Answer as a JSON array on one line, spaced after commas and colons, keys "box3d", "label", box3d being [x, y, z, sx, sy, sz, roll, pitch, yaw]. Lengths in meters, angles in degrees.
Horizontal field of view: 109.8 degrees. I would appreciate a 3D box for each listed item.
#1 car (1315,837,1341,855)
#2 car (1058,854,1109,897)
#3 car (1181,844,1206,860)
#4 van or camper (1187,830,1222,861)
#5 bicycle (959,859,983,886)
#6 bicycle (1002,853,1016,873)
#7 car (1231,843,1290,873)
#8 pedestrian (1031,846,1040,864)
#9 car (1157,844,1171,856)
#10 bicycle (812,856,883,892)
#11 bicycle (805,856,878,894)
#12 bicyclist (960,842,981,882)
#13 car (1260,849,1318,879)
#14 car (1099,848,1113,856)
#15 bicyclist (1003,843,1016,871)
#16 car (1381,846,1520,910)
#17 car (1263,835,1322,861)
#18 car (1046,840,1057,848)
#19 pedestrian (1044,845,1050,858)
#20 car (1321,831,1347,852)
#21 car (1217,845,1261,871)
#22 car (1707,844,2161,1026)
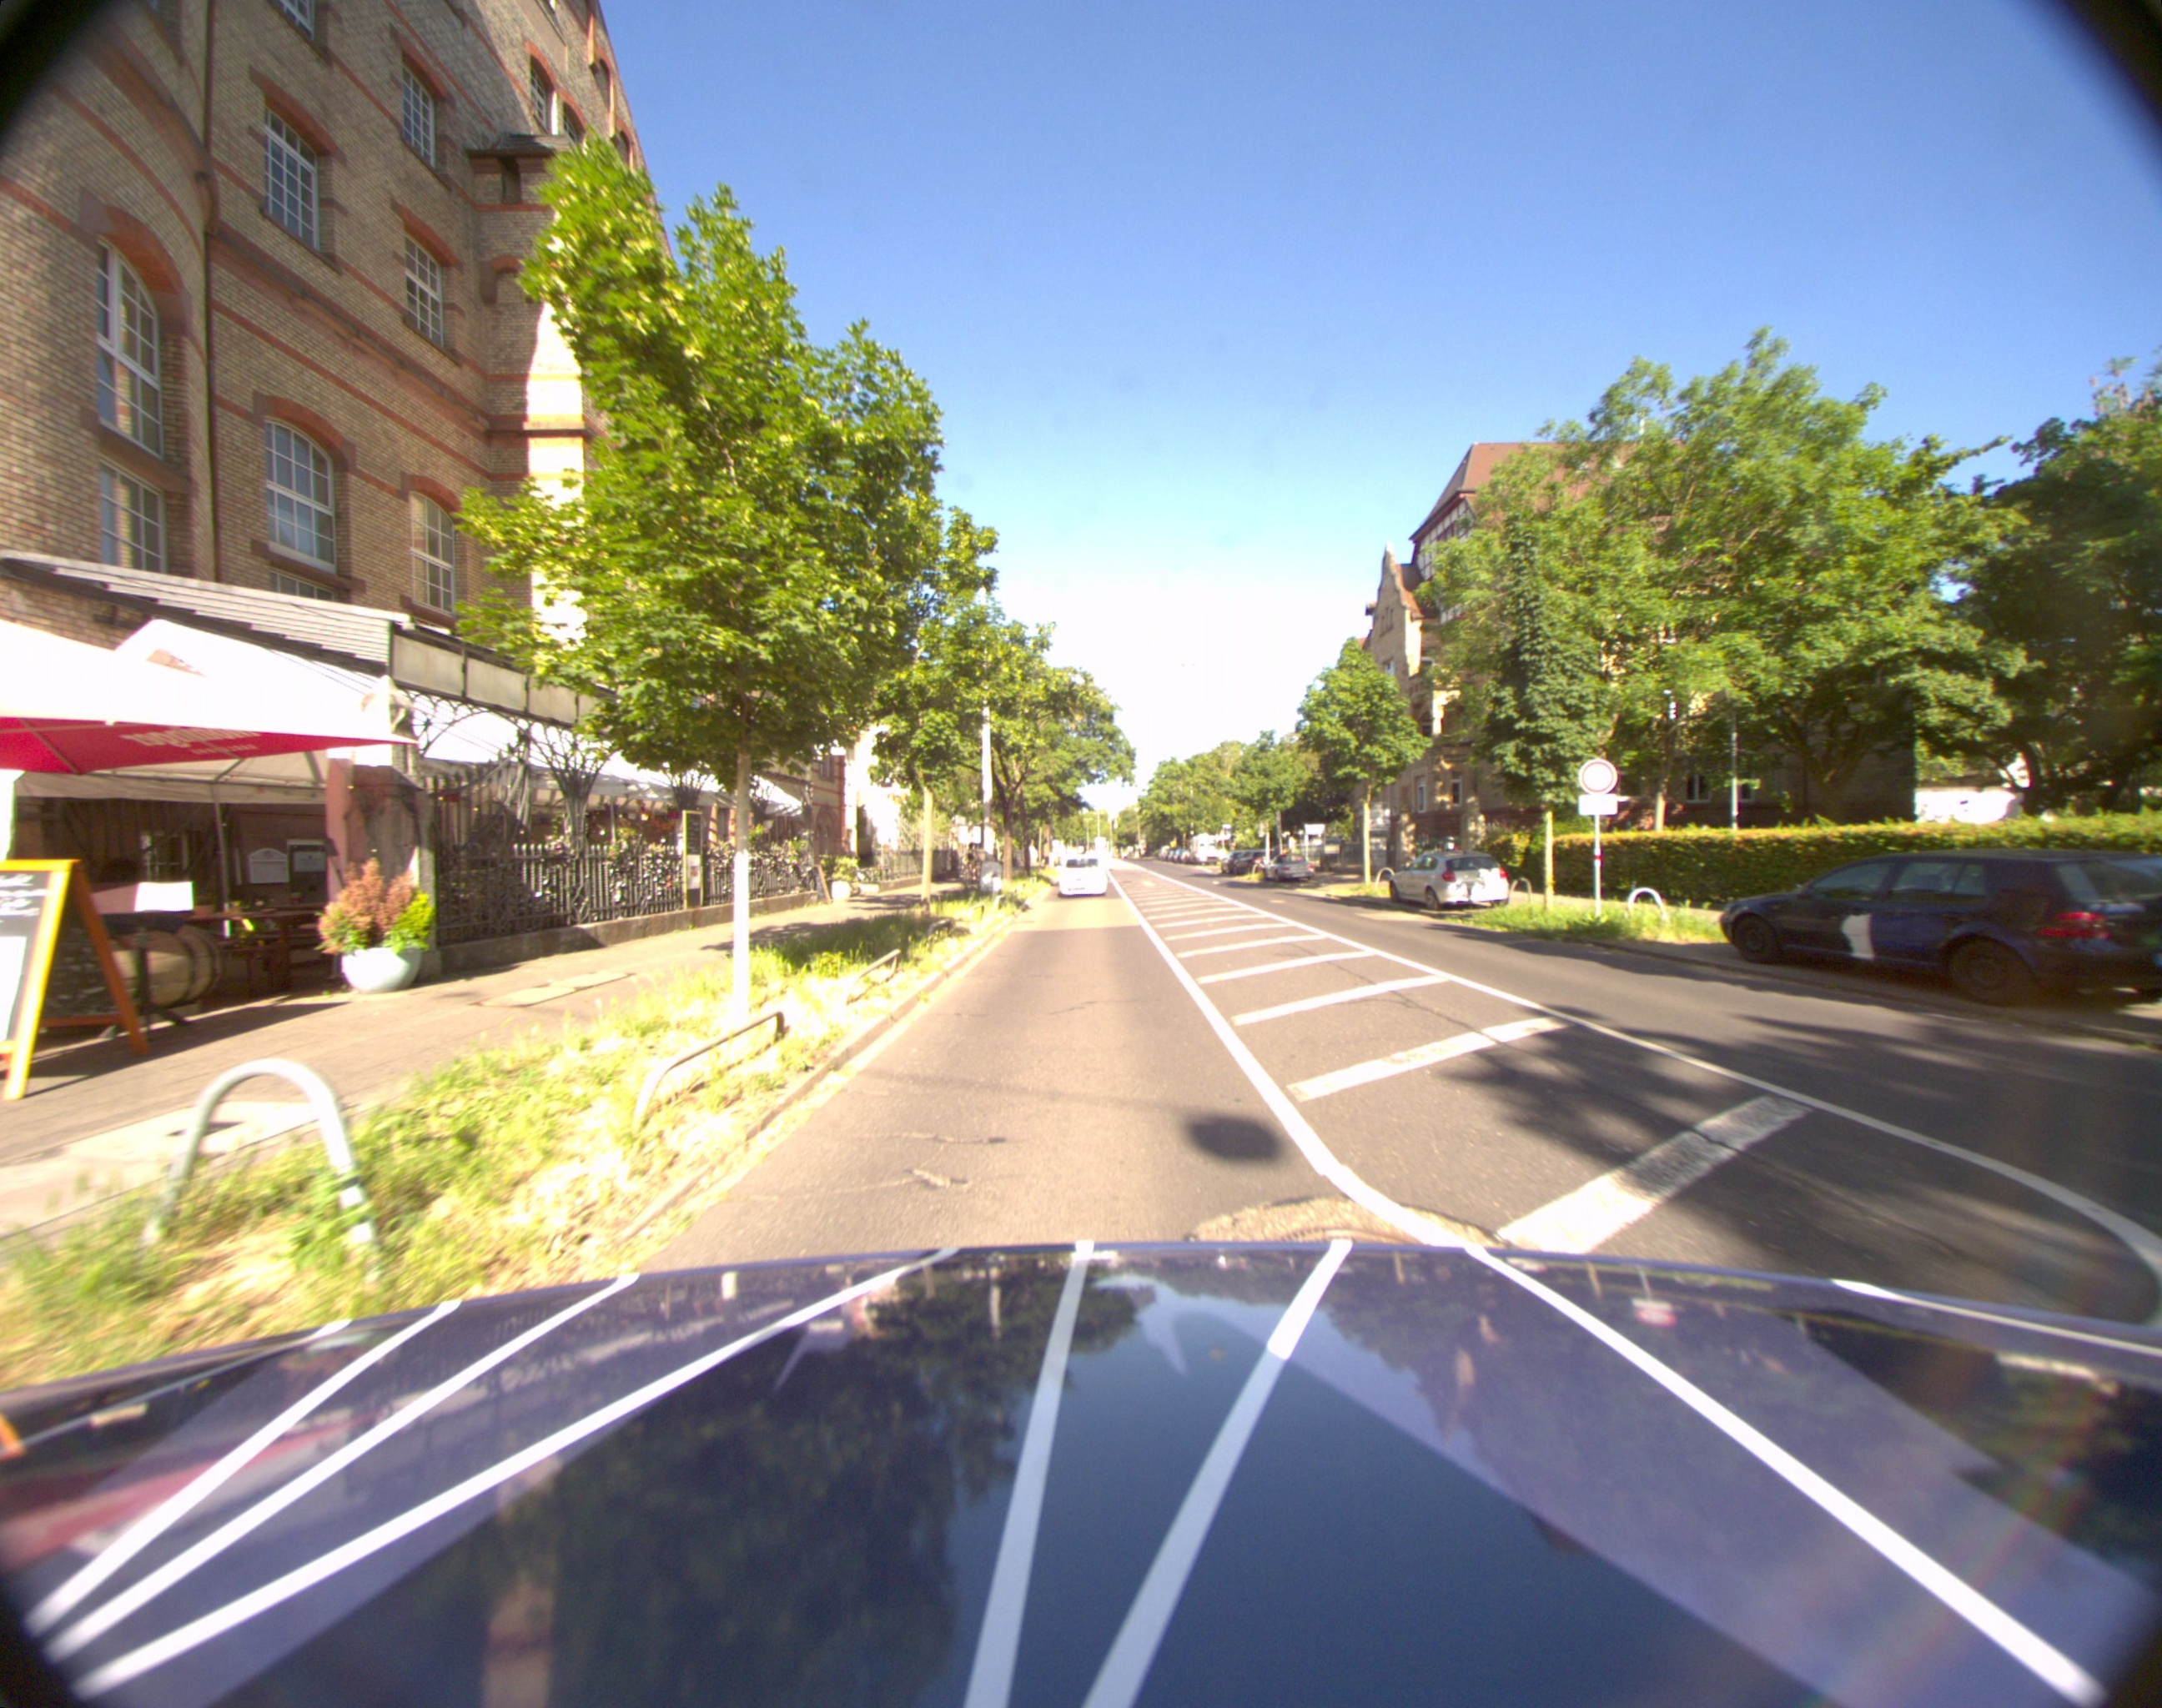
[{"box3d": [22.470, -0.724, 69.045, 1.860, 1.504, 3.535, 1, 3, 25], "label": "car"}, {"box3d": [0.158, 0.738, 28.238, 1.652, 1.449, 3.897, -1, 1, 3], "label": "car"}, {"box3d": [11.119, -0.223, 75.451, 1.698, 1.448, 4.662, 1, 1, -1], "label": "car"}, {"box3d": [11.288, -0.791, 69.918, 2.222, 2.723, 6.087, -1, 1, 1], "label": "van or camper"}, {"box3d": [-4.478, 0.736, 31.038, 0.687, 1.022, 2.095, -1, 1, 0], "label": "bicycle"}, {"box3d": [-4.495, 0.557, 47.613, 0.654, 1.170, 1.843, 2, 0, 1], "label": "bicycle"}, {"box3d": [10.058, 0.209, 43.011, 1.861, 1.485, 4.703, -4, 1, -4], "label": "car"}, {"box3d": [-4.669, 0.070, 77.749, 0.749, 1.777, 0.811, 2, 1, 1], "label": "pedestrian"}, {"box3d": [10.724, -0.567, 98.304, 1.467, 1.493, 3.958, 0, 1, 1], "label": "car"}, {"box3d": [-8.080, 0.674, 26.360, 2.202, 1.172, 0.687, -1, 2, -5], "label": "bicycle"}, {"box3d": [-7.983, 0.685, 25.389, 2.202, 1.172, 0.687, -1, 2, -5], "label": "bicycle"}, {"box3d": [-4.491, 0.314, 30.993, 0.702, 1.590, 0.954, -1, 2, -1], "label": "bicyclist"}, {"box3d": [9.635, 0.434, 35.498, 1.682, 1.248, 4.014, -2, 1, 1], "label": "car"}, {"box3d": [4.281, -0.342, 129.784, 1.924, 1.411, 4.223, -1, 1, -4], "label": "car"}, {"box3d": [-4.484, 0.198, 47.609, 0.647, 1.685, 0.889, 2, 1, 1], "label": "bicyclist"}, {"box3d": [9.354, 0.546, 19.638, 1.692, 1.375, 4.191, -3, 1, 3], "label": "car"}, {"box3d": [16.240, -0.469, 58.391, 4.150, 1.660, 1.996, -4, 0, -32], "label": "car"}, {"box3d": [-5.477, -1.847, 139.321, 1.847, 1.432, 4.104, 2, 0, -3], "label": "car"}, {"box3d": [-4.264, -0.332, 95.986, 0.696, 1.649, 0.820, 2, 2, 0], "label": "pedestrian"}, {"box3d": [24.515, -1.211, 73.592, 1.860, 1.903, 4.458, 1, 3, 25], "label": "car"}, {"box3d": [10.113, 0.210, 49.018, 1.860, 1.419, 4.719, -5, 1, 2], "label": "car"}, {"box3d": [9.283, 0.643, 8.251, 1.716, 1.450, 4.072, -2, 1, 2], "label": "car"}]
